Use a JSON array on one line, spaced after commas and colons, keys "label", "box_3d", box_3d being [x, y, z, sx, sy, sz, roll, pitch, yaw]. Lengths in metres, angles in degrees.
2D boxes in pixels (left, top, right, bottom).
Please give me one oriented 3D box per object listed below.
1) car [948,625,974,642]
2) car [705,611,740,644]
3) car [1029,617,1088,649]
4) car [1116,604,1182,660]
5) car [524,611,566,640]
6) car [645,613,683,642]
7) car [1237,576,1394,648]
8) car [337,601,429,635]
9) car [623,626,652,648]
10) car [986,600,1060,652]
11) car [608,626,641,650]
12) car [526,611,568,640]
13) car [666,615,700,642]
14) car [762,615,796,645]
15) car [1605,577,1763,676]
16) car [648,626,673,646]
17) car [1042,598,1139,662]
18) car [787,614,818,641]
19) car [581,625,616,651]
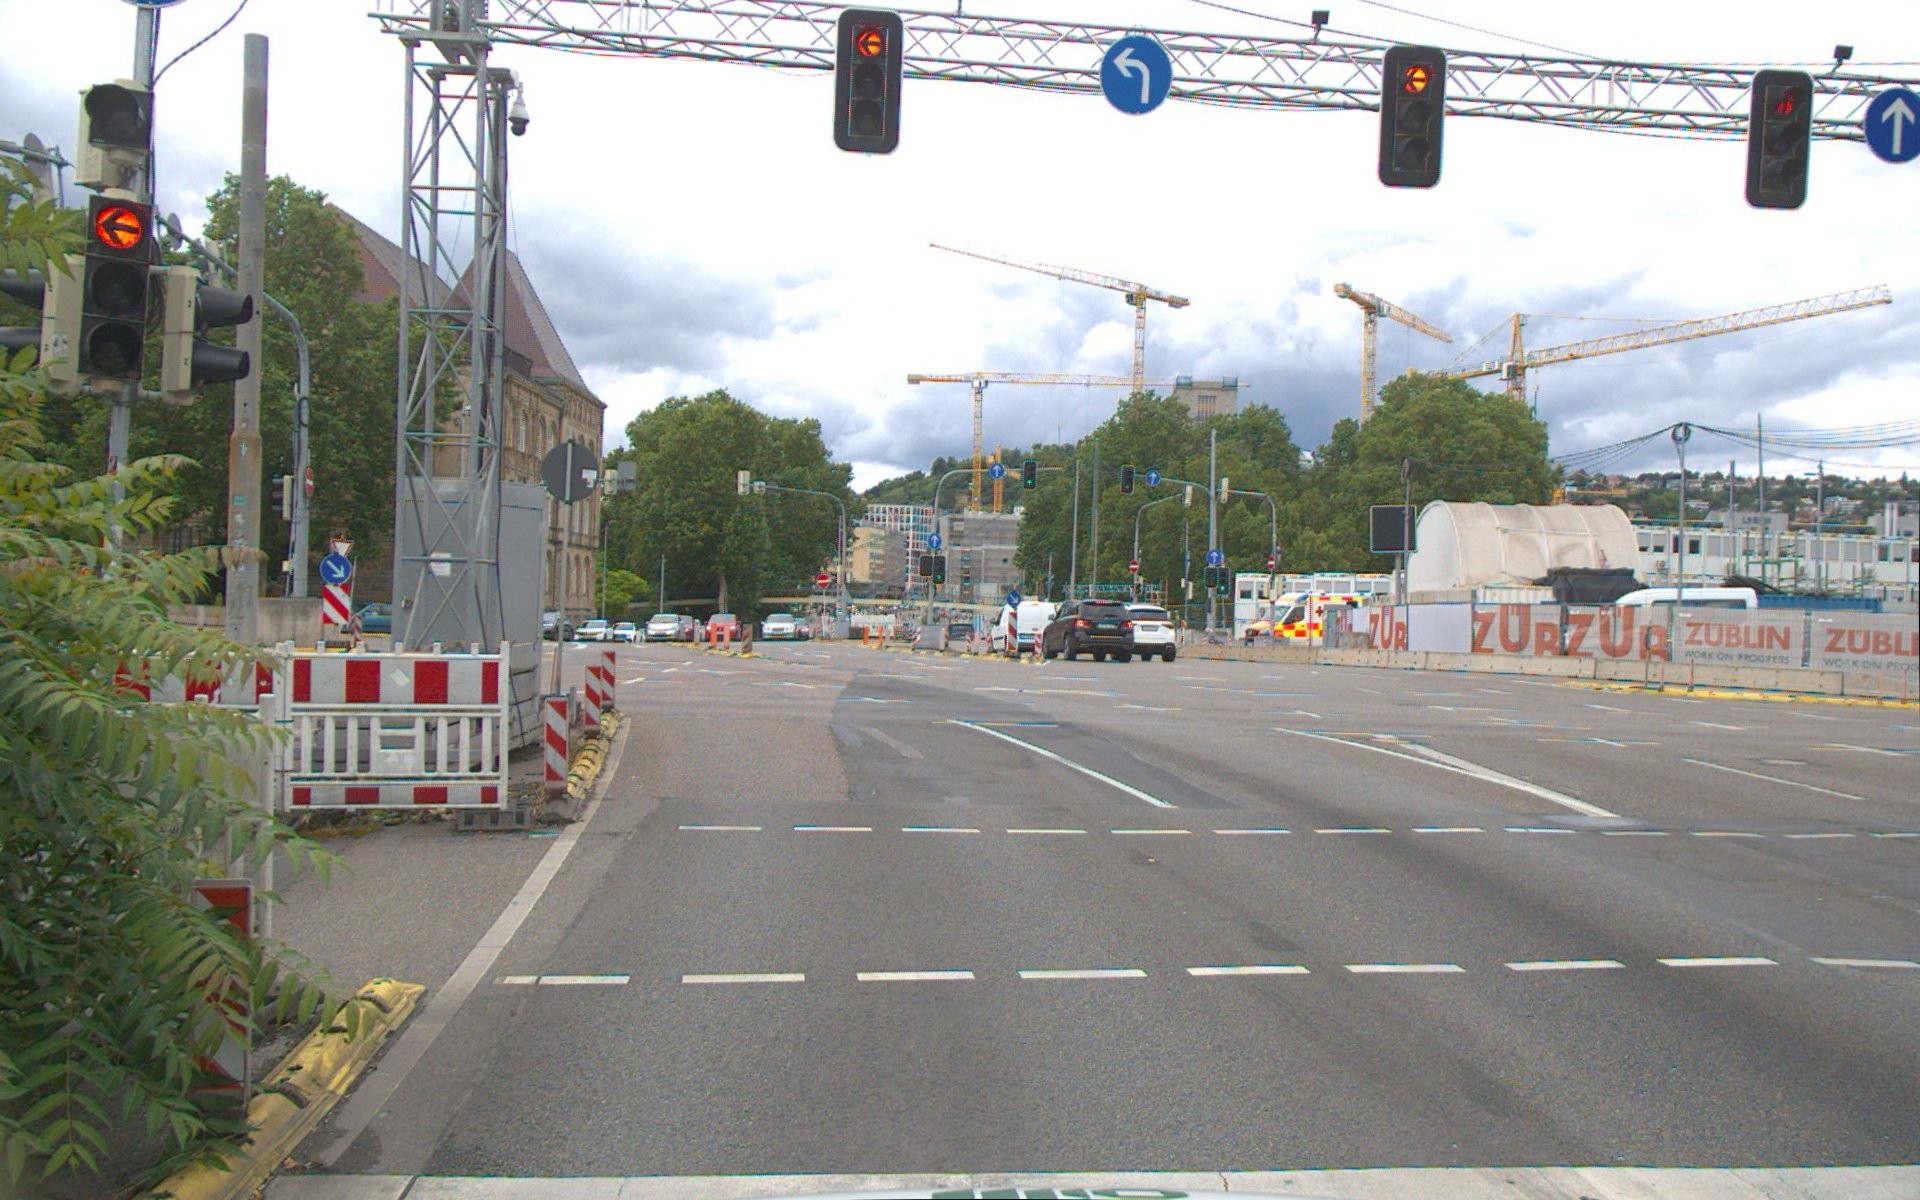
[{"label": "car", "box_3d": [0.032, 2.368, 116.769, 1.284, 1.093, 3.676, 1, 0, -8]}, {"label": "car", "box_3d": [-12.127, 1.378, 84.519, 1.644, 1.608, 3.677, 1, 0, -7]}, {"label": "car", "box_3d": [4.509, 1.509, 76.042, 1.650, 1.422, 3.070, 1, 0, -19]}, {"label": "car", "box_3d": [6.041, 0.997, 53.131, 1.642, 1.732, 3.374, 1, 0, -1]}, {"label": "car", "box_3d": [-21.496, 1.312, 85.820, 1.644, 1.422, 3.677, 1, 0, -7]}, {"label": "car", "box_3d": [-15.259, 1.420, 85.380, 1.644, 1.422, 3.677, 1, 0, -7]}, {"label": "car", "box_3d": [15.985, 0.546, 74.329, 6.636, 3.105, 2.359, 1, 0, -19]}, {"label": "car", "box_3d": [-25.095, 0.772, 71.985, 1.643, 1.422, 3.679, 1, 0, 26]}, {"label": "car", "box_3d": [-22.432, 2.588, 115.047, 1.644, 1.422, 3.677, 1, 0, -7]}, {"label": "car", "box_3d": [2.080, 0.850, 55.553, 1.783, 1.653, 3.993, 1, 0, -8]}, {"label": "car", "box_3d": [-21.856, 2.451, 107.761, 1.643, 1.422, 3.680, 2, 0, -4]}, {"label": "car", "box_3d": [-21.481, 1.315, 86.145, 1.644, 1.422, 3.677, 1, 0, -7]}, {"label": "car", "box_3d": [-15.300, 1.548, 91.539, 1.644, 1.422, 3.677, 1, 0, -7]}, {"label": "car", "box_3d": [-9.299, 1.522, 84.894, 1.644, 1.422, 3.677, 1, 0, -7]}, {"label": "car", "box_3d": [20.823, 0.748, 47.686, 3.902, 2.708, 1.683, 1, 0, 13]}, {"label": "car", "box_3d": [-23.634, 2.840, 130.656, 1.644, 1.422, 3.677, 1, 0, -7]}, {"label": "car", "box_3d": [3.778, 0.841, 48.533, 1.799, 1.776, 4.245, 1, 0, -10]}, {"label": "car", "box_3d": [-8.883, 1.551, 93.162, 1.644, 1.422, 3.677, 1, 0, -7]}, {"label": "car", "box_3d": [-21.412, 2.224, 97.951, 1.644, 1.422, 3.677, 1, 0, -7]}]
